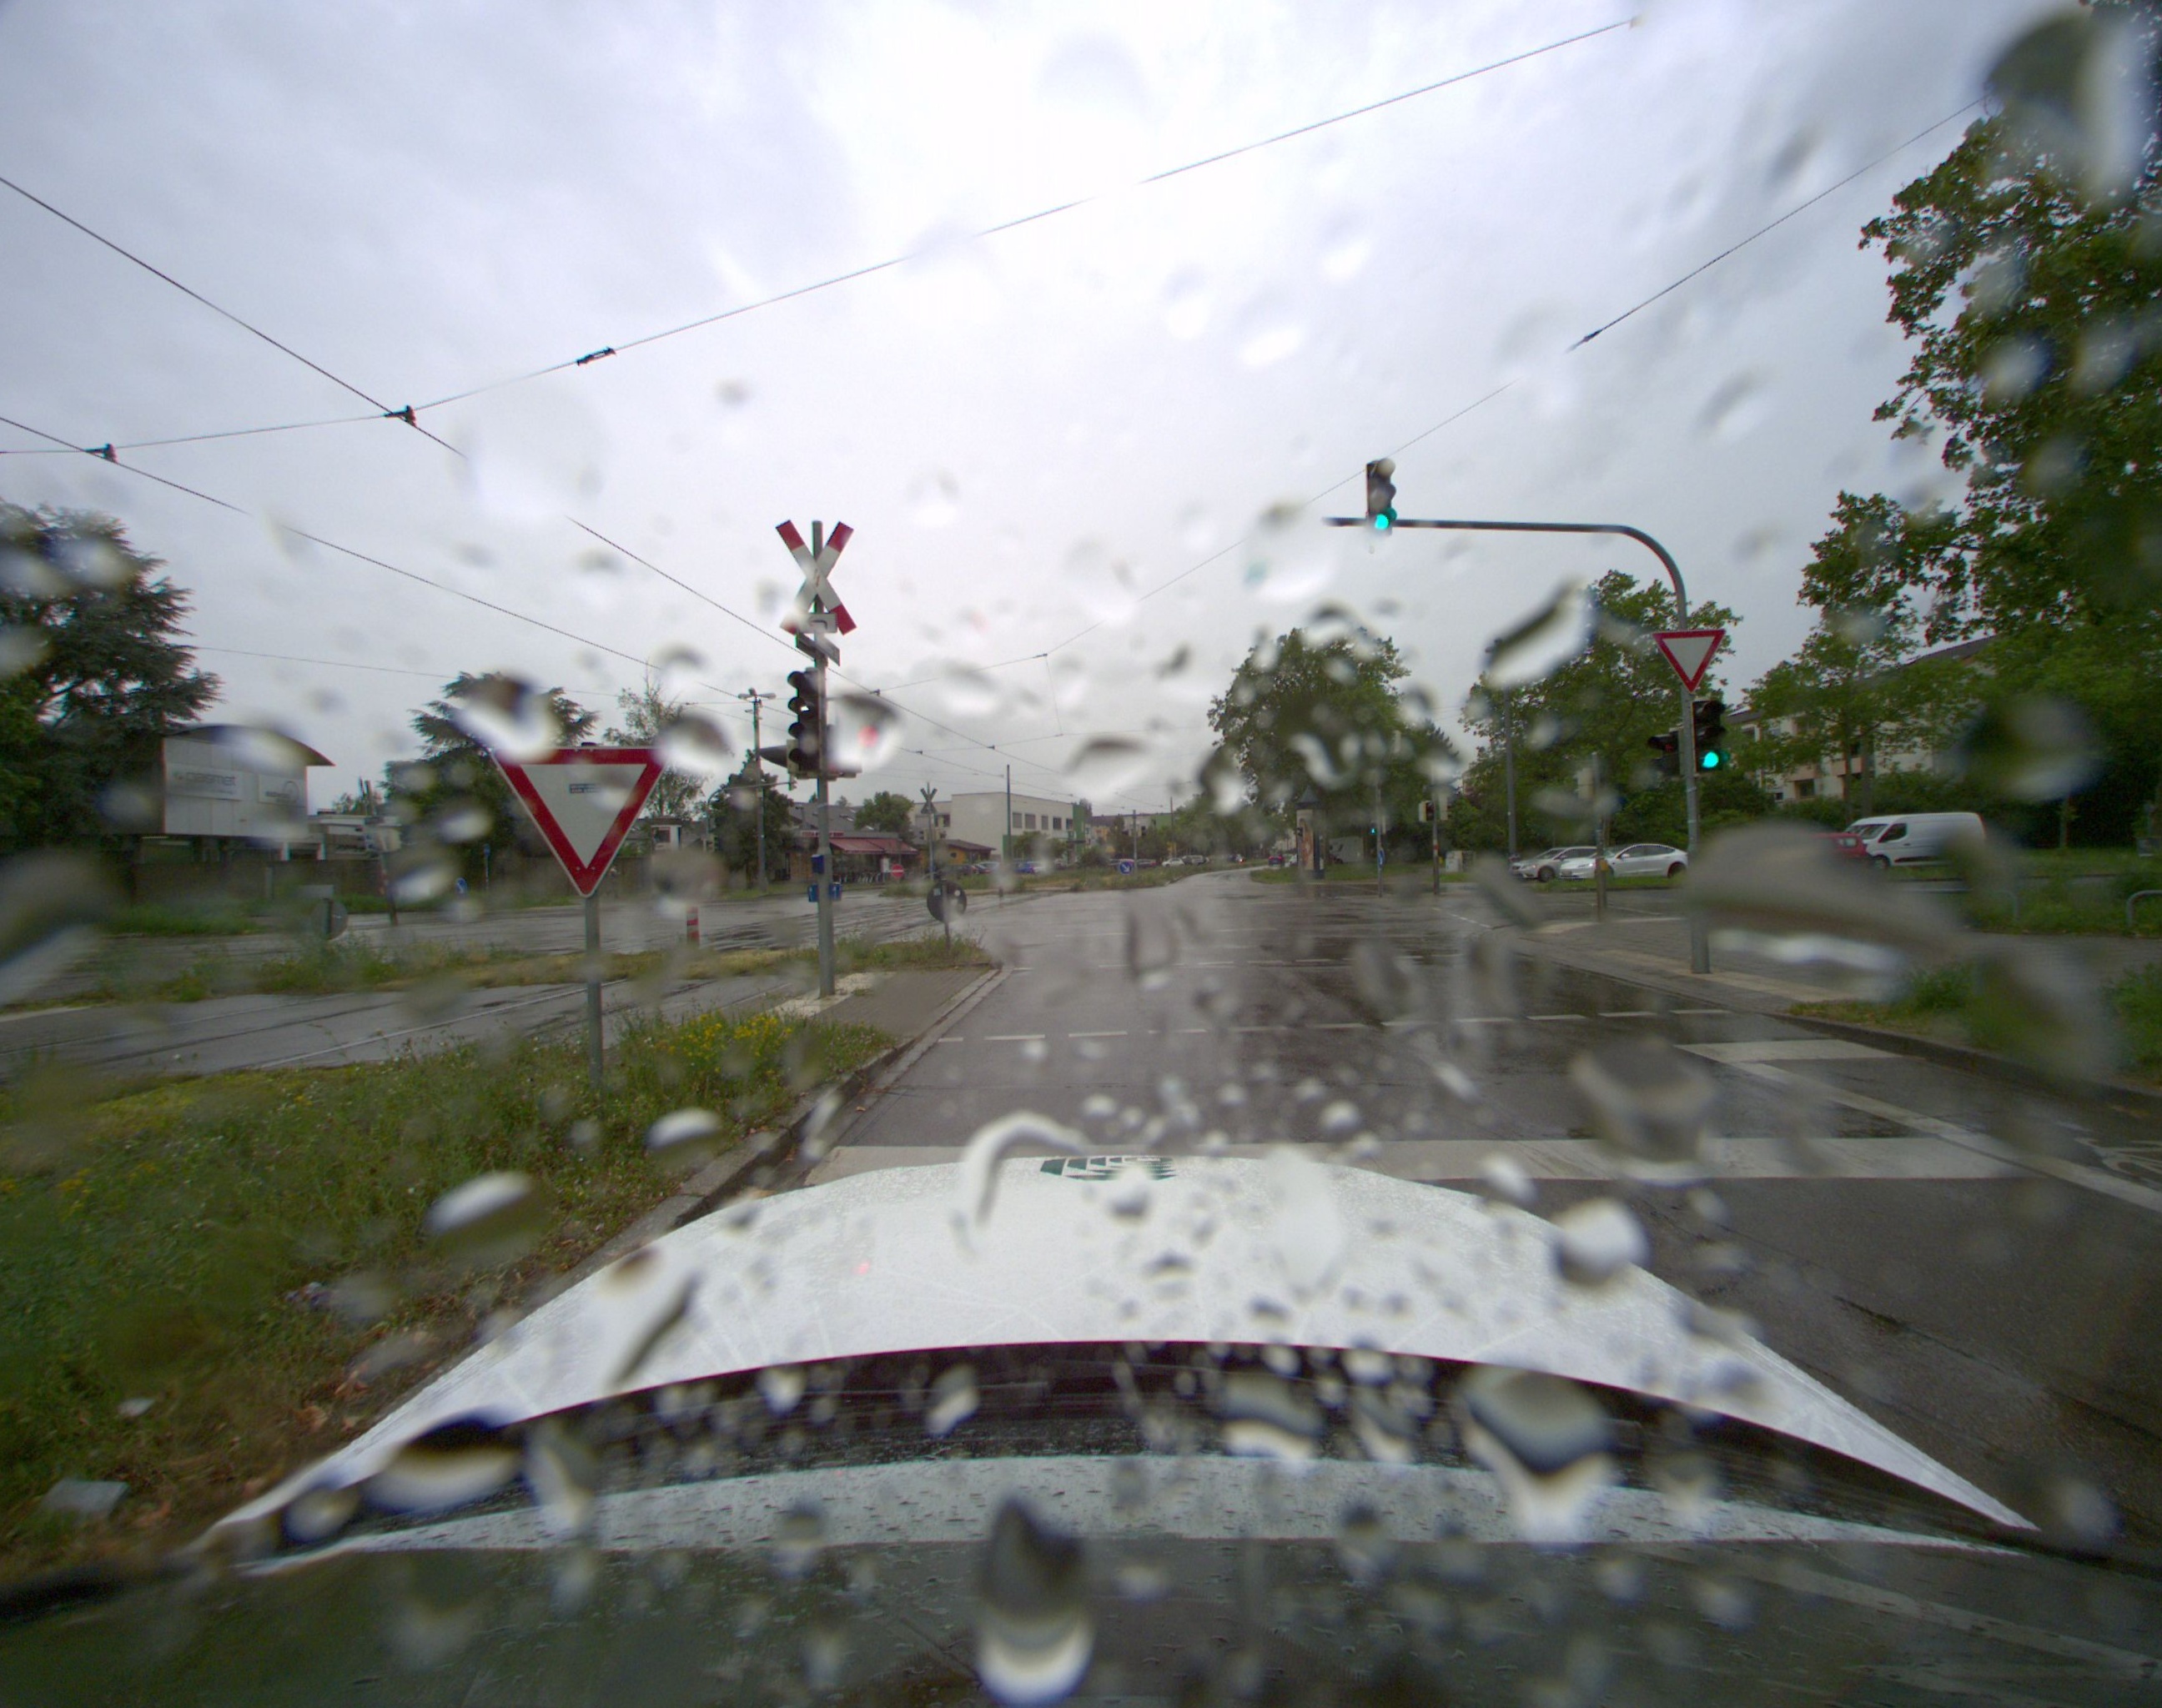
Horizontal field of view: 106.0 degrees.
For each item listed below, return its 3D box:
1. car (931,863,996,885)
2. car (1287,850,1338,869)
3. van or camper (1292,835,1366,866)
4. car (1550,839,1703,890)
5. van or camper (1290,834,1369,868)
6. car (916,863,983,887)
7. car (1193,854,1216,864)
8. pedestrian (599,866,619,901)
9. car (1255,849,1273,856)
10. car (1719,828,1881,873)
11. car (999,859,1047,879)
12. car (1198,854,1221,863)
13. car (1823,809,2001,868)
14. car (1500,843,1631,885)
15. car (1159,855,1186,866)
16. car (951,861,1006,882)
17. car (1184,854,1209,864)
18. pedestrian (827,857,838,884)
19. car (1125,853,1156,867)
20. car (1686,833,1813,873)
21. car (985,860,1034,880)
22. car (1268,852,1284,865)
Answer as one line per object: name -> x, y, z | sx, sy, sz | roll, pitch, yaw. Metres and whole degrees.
car -> -8.888, 1.516, 61.765 | 4.478, 1.418, 1.860 | -3, -1, 3
car -> 21.974, 0.509, 77.245 | 4.405, 1.717, 2.011 | -1, -1, 23
van or camper -> 27.195, -0.357, 89.178 | 7.359, 3.178, 3.281 | -1, -1, 24
car -> 20.477, 0.368, 30.679 | 4.585, 1.828, 1.931 | 0, -1, -5
van or camper -> 24.468, -0.228, 80.117 | 7.261, 3.178, 3.278 | -1, -1, 20
car -> -9.555, 1.518, 59.371 | 4.459, 1.418, 1.860 | -3, -1, 3
car -> 23.244, 0.871, 153.519 | 3.986, 1.832, 1.994 | 0, -1, -10
pedestrian -> -25.195, 1.568, 43.494 | 0.890, 1.797, 0.719 | 0, 0, -33
car -> 45.506, -0.340, 202.610 | 3.977, 1.832, 1.998 | 0, -1, -3
car -> 26.986, -0.111, 30.659 | 4.589, 1.607, 1.790 | 0, -1, -1
car -> -5.220, 1.362, 73.204 | 4.112, 1.641, 1.922 | -1, -1, -12
car -> 24.982, 0.899, 158.550 | 3.977, 1.832, 1.998 | 0, -1, -3
car -> 35.099, -0.622, 34.504 | 5.589, 2.392, 1.999 | 0, -1, -2
car -> 20.193, 0.418, 34.035 | 4.385, 1.691, 1.931 | 0, -1, -5
car -> 14.222, 0.958, 126.637 | 3.772, 1.702, 1.832 | 0, -1, -8
car -> -8.177, 1.394, 65.101 | 3.966, 1.582, 1.862 | -2, -1, 6
car -> 20.424, 0.857, 144.607 | 3.986, 1.759, 2.004 | 0, -1, -10
pedestrian -> -18.739, 1.206, 61.378 | 0.726, 2.014, 0.789 | 0, -1, -21
car -> 8.018, 0.849, 110.246 | 3.980, 1.887, 1.997 | 0, -1, -5
car -> 28.191, -0.037, 34.409 | 4.048, 1.607, 1.788 | 0, -1, -5
car -> -6.172, 1.370, 70.023 | 3.986, 1.582, 1.924 | -2, -1, -9
car -> 25.986, 0.552, 108.311 | 1.792, 1.686, 3.929 | -1, -1, 18
